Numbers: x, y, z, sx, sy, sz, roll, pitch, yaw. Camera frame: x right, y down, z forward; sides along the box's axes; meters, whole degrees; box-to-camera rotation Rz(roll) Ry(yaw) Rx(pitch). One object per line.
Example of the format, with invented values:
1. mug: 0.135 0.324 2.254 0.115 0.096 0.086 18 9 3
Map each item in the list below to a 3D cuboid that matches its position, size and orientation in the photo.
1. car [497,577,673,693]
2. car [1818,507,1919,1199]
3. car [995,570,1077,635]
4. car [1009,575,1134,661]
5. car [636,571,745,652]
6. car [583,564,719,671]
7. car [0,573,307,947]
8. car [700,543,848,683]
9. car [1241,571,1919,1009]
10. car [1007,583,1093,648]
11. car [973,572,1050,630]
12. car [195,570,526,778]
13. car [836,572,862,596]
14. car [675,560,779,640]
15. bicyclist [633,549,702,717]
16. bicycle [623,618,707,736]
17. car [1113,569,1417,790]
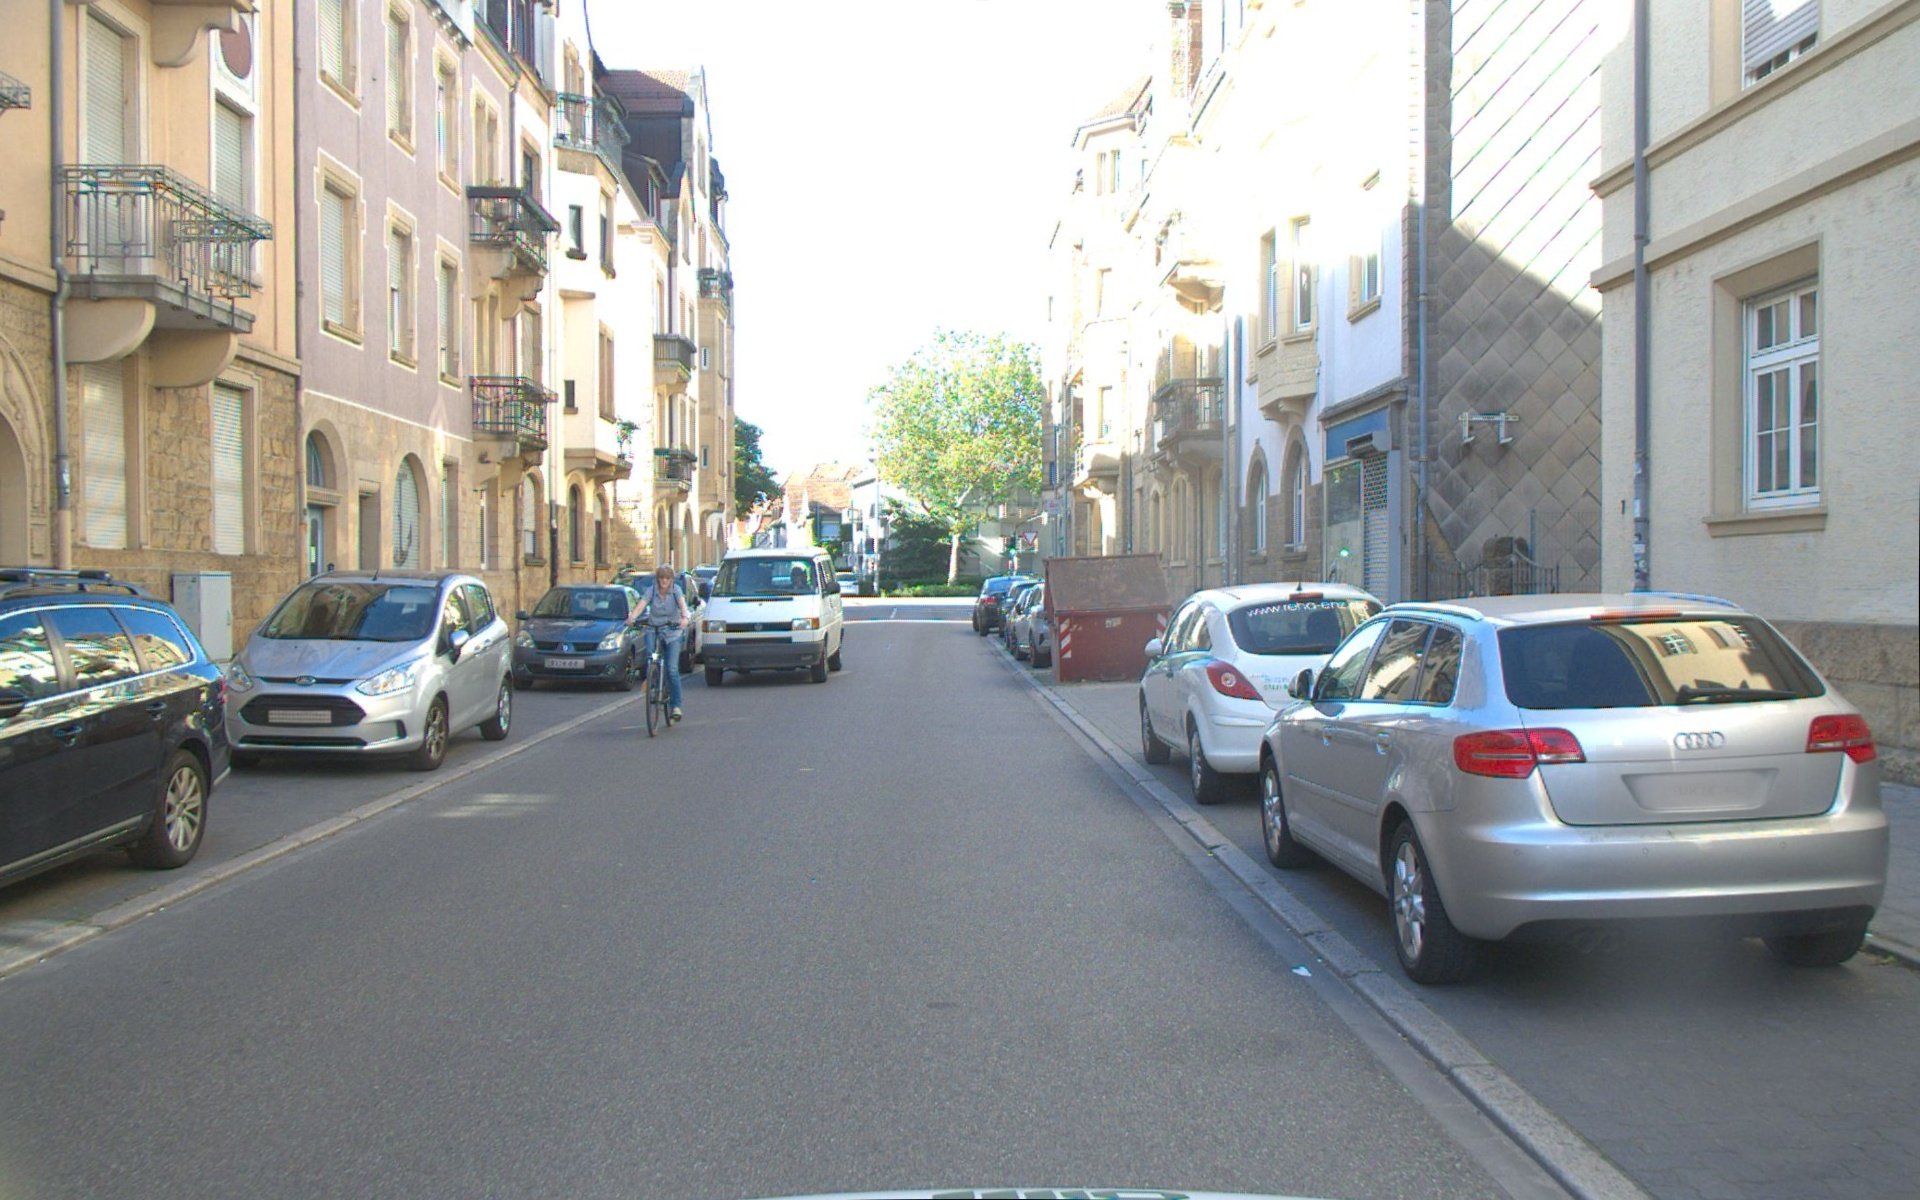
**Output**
1. car: -5.227 0.429 23.479 1.638 1.417 3.666 3 1 -1
2. car: 2.710 0.613 1.693 1.645 1.573 3.915 -1 1 0
3. car: 1.781 0.017 40.050 1.618 1.467 4.257 -1 1 -2
4. car: 1.964 0.278 30.184 1.751 1.454 3.804 0 1 -5
5. car: -5.408 0.185 33.632 1.541 1.513 4.279 1 1 -1
6. car: -5.176 0.238 28.141 1.681 1.610 4.018 3 1 -3
7. car: -4.866 0.651 8.242 1.680 1.548 4.108 -1 1 -2
8. car: -2.794 0.144 25.724 1.825 1.970 4.599 0 1 -1
9. car: 2.533 0.618 7.761 1.619 1.490 4.093 -1 1 -2
10. car: 1.841 0.282 34.719 1.658 1.276 3.942 0 1 1
11. car: 1.346 -0.013 44.631 1.828 1.487 4.338 0 1 -2
12. car: -5.025 0.528 14.399 1.680 1.565 3.722 0 1 -3
13. car: -7.120 -1.025 106.262 1.641 1.508 3.519 1 0 -3
14. car: -5.666 -0.048 40.748 1.853 1.752 4.726 3 1 -1
15. bicyclist: -3.008 0.329 17.067 0.595 1.694 0.632 0 1 -1
16. bicycle: -3.003 0.761 16.963 0.529 1.095 1.800 0 1 0
17. car: 2.261 0.509 13.143 1.554 1.490 3.710 -1 1 -3
